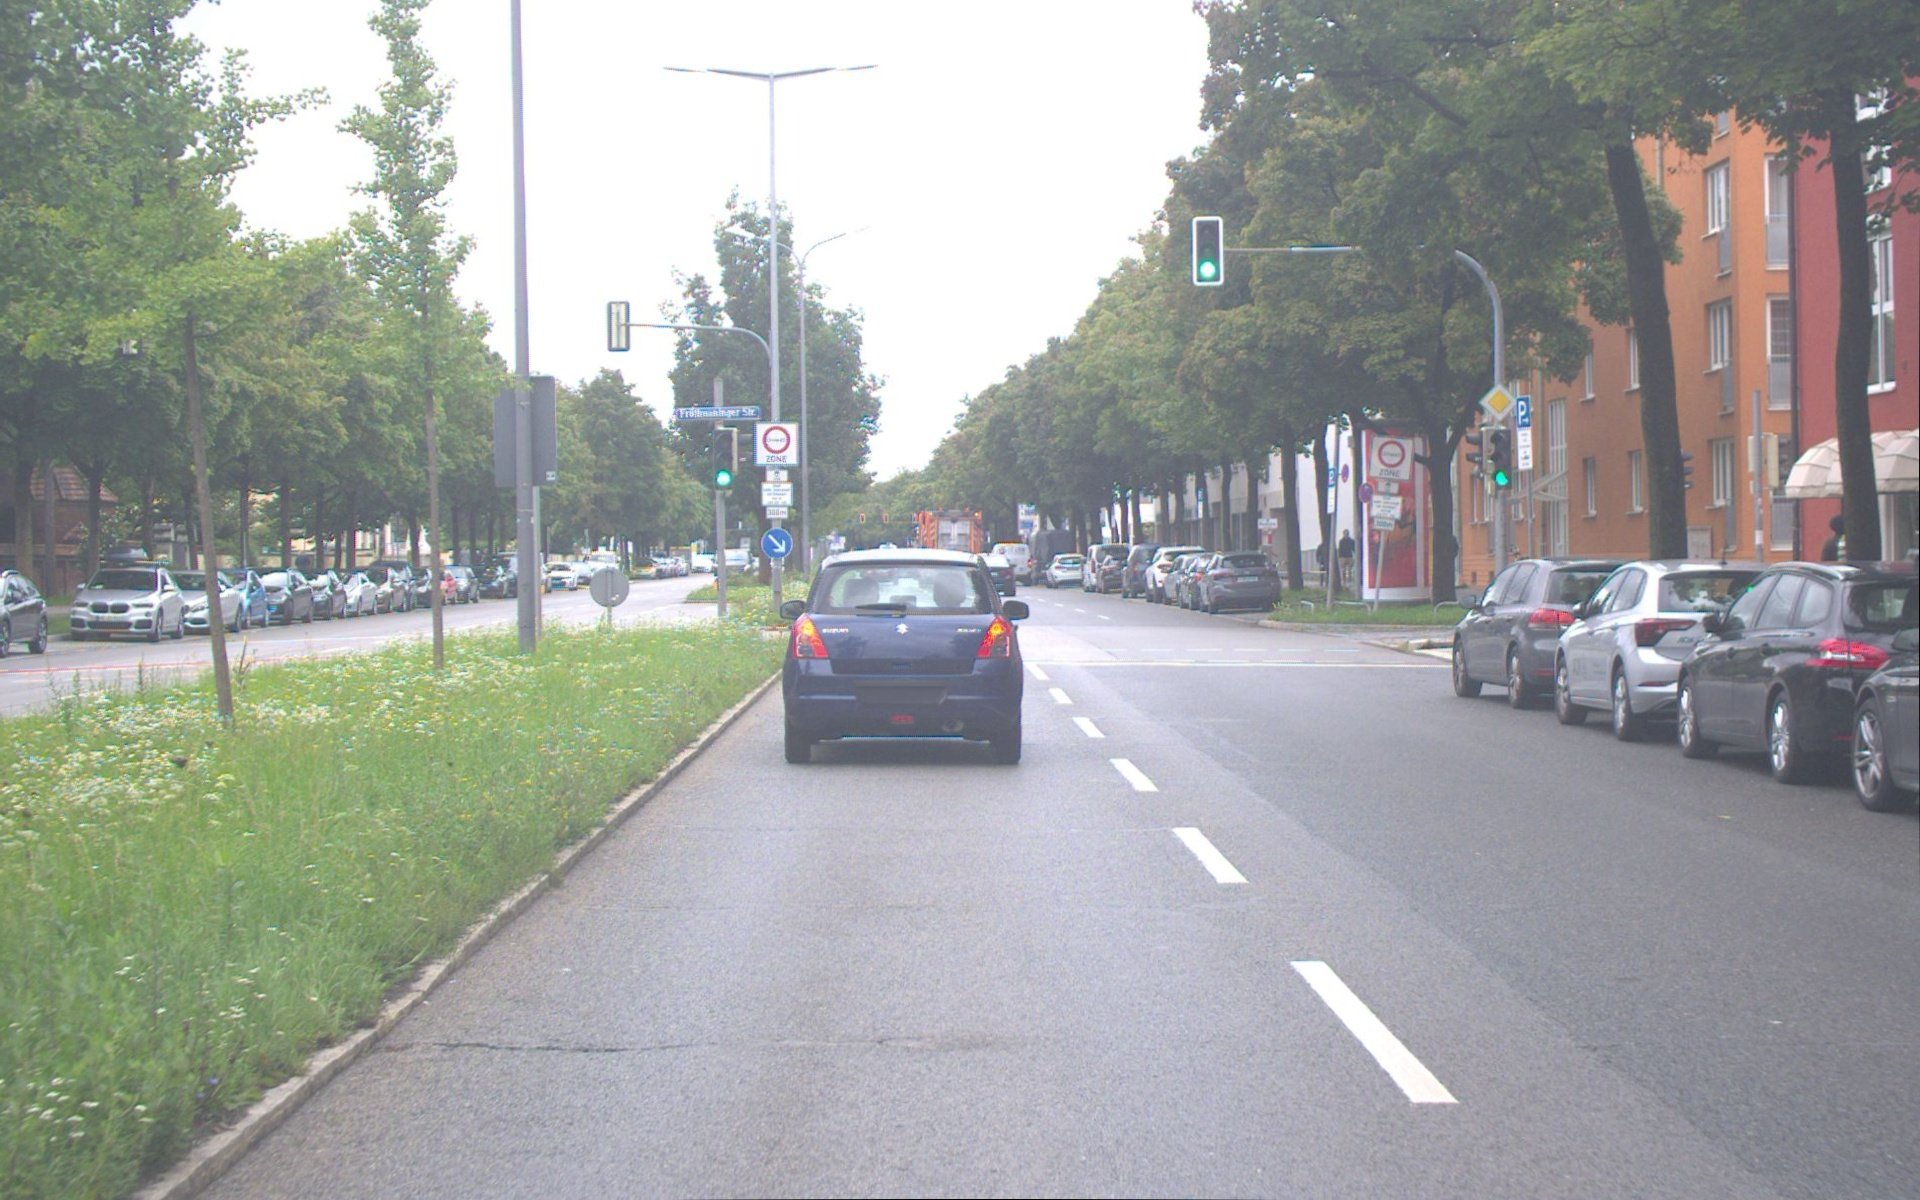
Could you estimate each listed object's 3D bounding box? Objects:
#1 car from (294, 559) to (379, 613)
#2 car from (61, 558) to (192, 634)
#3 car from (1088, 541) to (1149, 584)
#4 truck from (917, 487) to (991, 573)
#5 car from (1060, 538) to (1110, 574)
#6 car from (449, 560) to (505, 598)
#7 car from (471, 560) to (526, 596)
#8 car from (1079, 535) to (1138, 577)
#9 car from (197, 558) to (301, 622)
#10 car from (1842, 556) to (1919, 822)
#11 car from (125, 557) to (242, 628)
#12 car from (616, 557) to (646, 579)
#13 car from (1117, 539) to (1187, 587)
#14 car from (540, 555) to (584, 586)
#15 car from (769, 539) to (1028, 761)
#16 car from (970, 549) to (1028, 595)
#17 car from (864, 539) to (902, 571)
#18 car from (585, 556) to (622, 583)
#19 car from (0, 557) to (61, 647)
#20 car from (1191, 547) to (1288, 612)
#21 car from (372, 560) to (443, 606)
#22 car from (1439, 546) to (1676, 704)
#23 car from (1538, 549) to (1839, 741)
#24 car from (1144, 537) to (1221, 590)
[{"bbox_3d":[-18.341,-0.428,101.313,1.801,1.529,4.000,-1,1,-1],"label":"car"},{"bbox_3d":[-17.557,-0.105,72.585,1.801,1.529,4.000,-1,1,-1],"label":"car"},{"bbox_3d":[5.763,-1.388,125.649,1.993,1.525,4.000,-1,1,-1],"label":"car"},{"bbox_3d":[-0.228,-3.020,148.443,3.041,3.545,13.675,0,1,0],"label":"truck"},{"bbox_3d":[5.407,-1.903,149.296,1.993,1.525,4.000,-1,1,-1],"label":"car"},{"bbox_3d":[-20.083,-0.880,143.033,1.801,1.529,4.000,-1,1,-1],"label":"car"},{"bbox_3d":[-19.918,-0.958,148.426,1.801,1.529,4.000,0,1,0],"label":"car"},{"bbox_3d":[5.605,-1.665,130.099,1.993,1.525,4.000,-1,1,-1],"label":"car"},{"bbox_3d":[-17.943,-0.263,86.909,1.801,1.529,4.000,-1,1,-1],"label":"car"},{"bbox_3d":[6.070,0.495,18.231,1.653,1.447,4.708,-1,1,1],"label":"car"},{"bbox_3d":[-17.804,-0.188,78.949,1.801,1.529,4.000,-1,1,-1],"label":"car"},{"bbox_3d":[-23.930,-2.333,250.069,1.801,1.529,4.000,-1,1,-1],"label":"car"},{"bbox_3d":[6.280,-1.229,112.800,1.993,1.525,4.000,-1,1,-1],"label":"car"},{"bbox_3d":[-20.207,-1.517,174.613,1.801,1.529,4.000,-1,1,-1],"label":"car"},{"bbox_3d":[-0.410,0.306,25.340,1.753,1.499,4.000,0,1,0],"label":"car"},{"bbox_3d":[1.320,-0.977,118.064,1.821,1.472,4.691,2,1,-1],"label":"car"},{"bbox_3d":[-3.621,-2.113,161.792,1.718,1.495,4.301,0,1,-1],"label":"car"},{"bbox_3d":[-21.074,-1.835,203.440,1.801,1.529,4.000,-1,1,-1],"label":"car"},{"bbox_3d":[-17.466,0.020,61.574,1.706,1.529,4.000,-1,1,-1],"label":"car"},{"bbox_3d":[6.835,-0.522,84.276,1.993,1.525,4.000,-1,1,-1],"label":"car"},{"bbox_3d":[-18.824,-0.601,117.235,1.801,1.529,4.000,0,1,-1],"label":"car"},{"bbox_3d":[5.845,0.199,34.044,1.695,1.447,4.123,-1,1,1],"label":"car"},{"bbox_3d":[5.972,0.319,28.602,1.695,1.447,4.123,-1,1,1],"label":"car"},{"bbox_3d":[6.606,-1.095,102.439,1.993,1.525,4.000,-1,1,-1],"label":"car"}]
